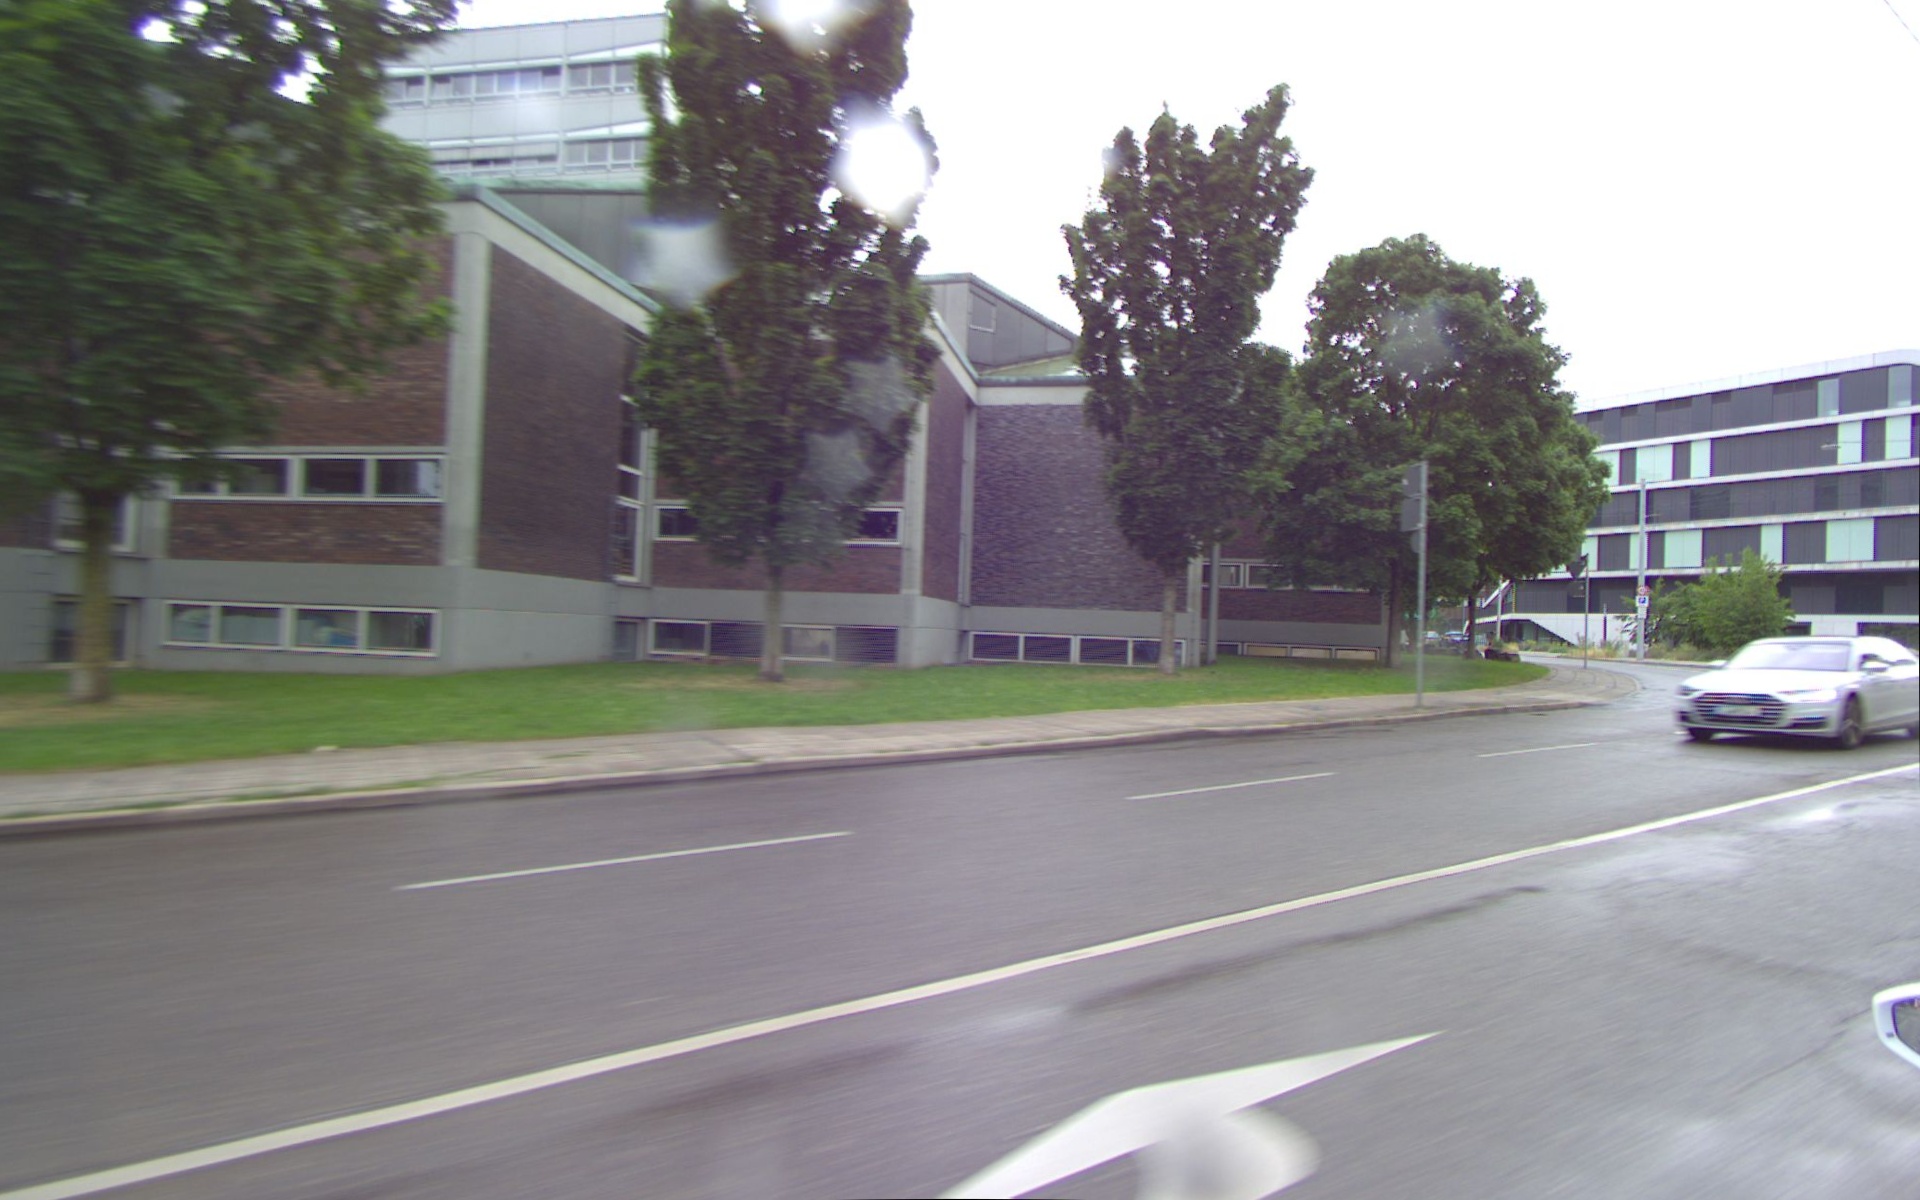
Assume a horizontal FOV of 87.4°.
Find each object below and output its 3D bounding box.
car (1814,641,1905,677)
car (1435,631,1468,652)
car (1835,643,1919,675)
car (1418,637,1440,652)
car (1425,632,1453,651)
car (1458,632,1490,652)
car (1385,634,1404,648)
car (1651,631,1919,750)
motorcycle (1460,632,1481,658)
[{"bbox_3d":[63.408,4.136,70.875,1.915,2.203,4.554,2,-1,-38],"label":"car"},{"bbox_3d":[44.305,3.741,90.586,1.882,1.762,4.002,2,-1,15],"label":"car"},{"bbox_3d":[66.721,4.256,73.104,1.581,2.059,4.317,2,-1,-33],"label":"car"},{"bbox_3d":[46.241,4.372,99.059,1.451,1.257,3.402,2,-1,15],"label":"car"},{"bbox_3d":[45.414,3.897,95.265,1.770,1.609,3.680,2,-1,15],"label":"car"},{"bbox_3d":[43.172,3.512,84.415,1.635,1.469,3.870,2,-1,15],"label":"car"},{"bbox_3d":[49.371,4.652,114.196,1.413,1.514,3.641,1,-1,15],"label":"car"},{"bbox_3d":[12.555,1.237,14.858,5.160,1.510,1.872,1,-3,-31],"label":"car"},{"bbox_3d":[23.265,2.037,45.792,0.404,1.139,1.171,2,-2,4],"label":"motorcycle"}]
